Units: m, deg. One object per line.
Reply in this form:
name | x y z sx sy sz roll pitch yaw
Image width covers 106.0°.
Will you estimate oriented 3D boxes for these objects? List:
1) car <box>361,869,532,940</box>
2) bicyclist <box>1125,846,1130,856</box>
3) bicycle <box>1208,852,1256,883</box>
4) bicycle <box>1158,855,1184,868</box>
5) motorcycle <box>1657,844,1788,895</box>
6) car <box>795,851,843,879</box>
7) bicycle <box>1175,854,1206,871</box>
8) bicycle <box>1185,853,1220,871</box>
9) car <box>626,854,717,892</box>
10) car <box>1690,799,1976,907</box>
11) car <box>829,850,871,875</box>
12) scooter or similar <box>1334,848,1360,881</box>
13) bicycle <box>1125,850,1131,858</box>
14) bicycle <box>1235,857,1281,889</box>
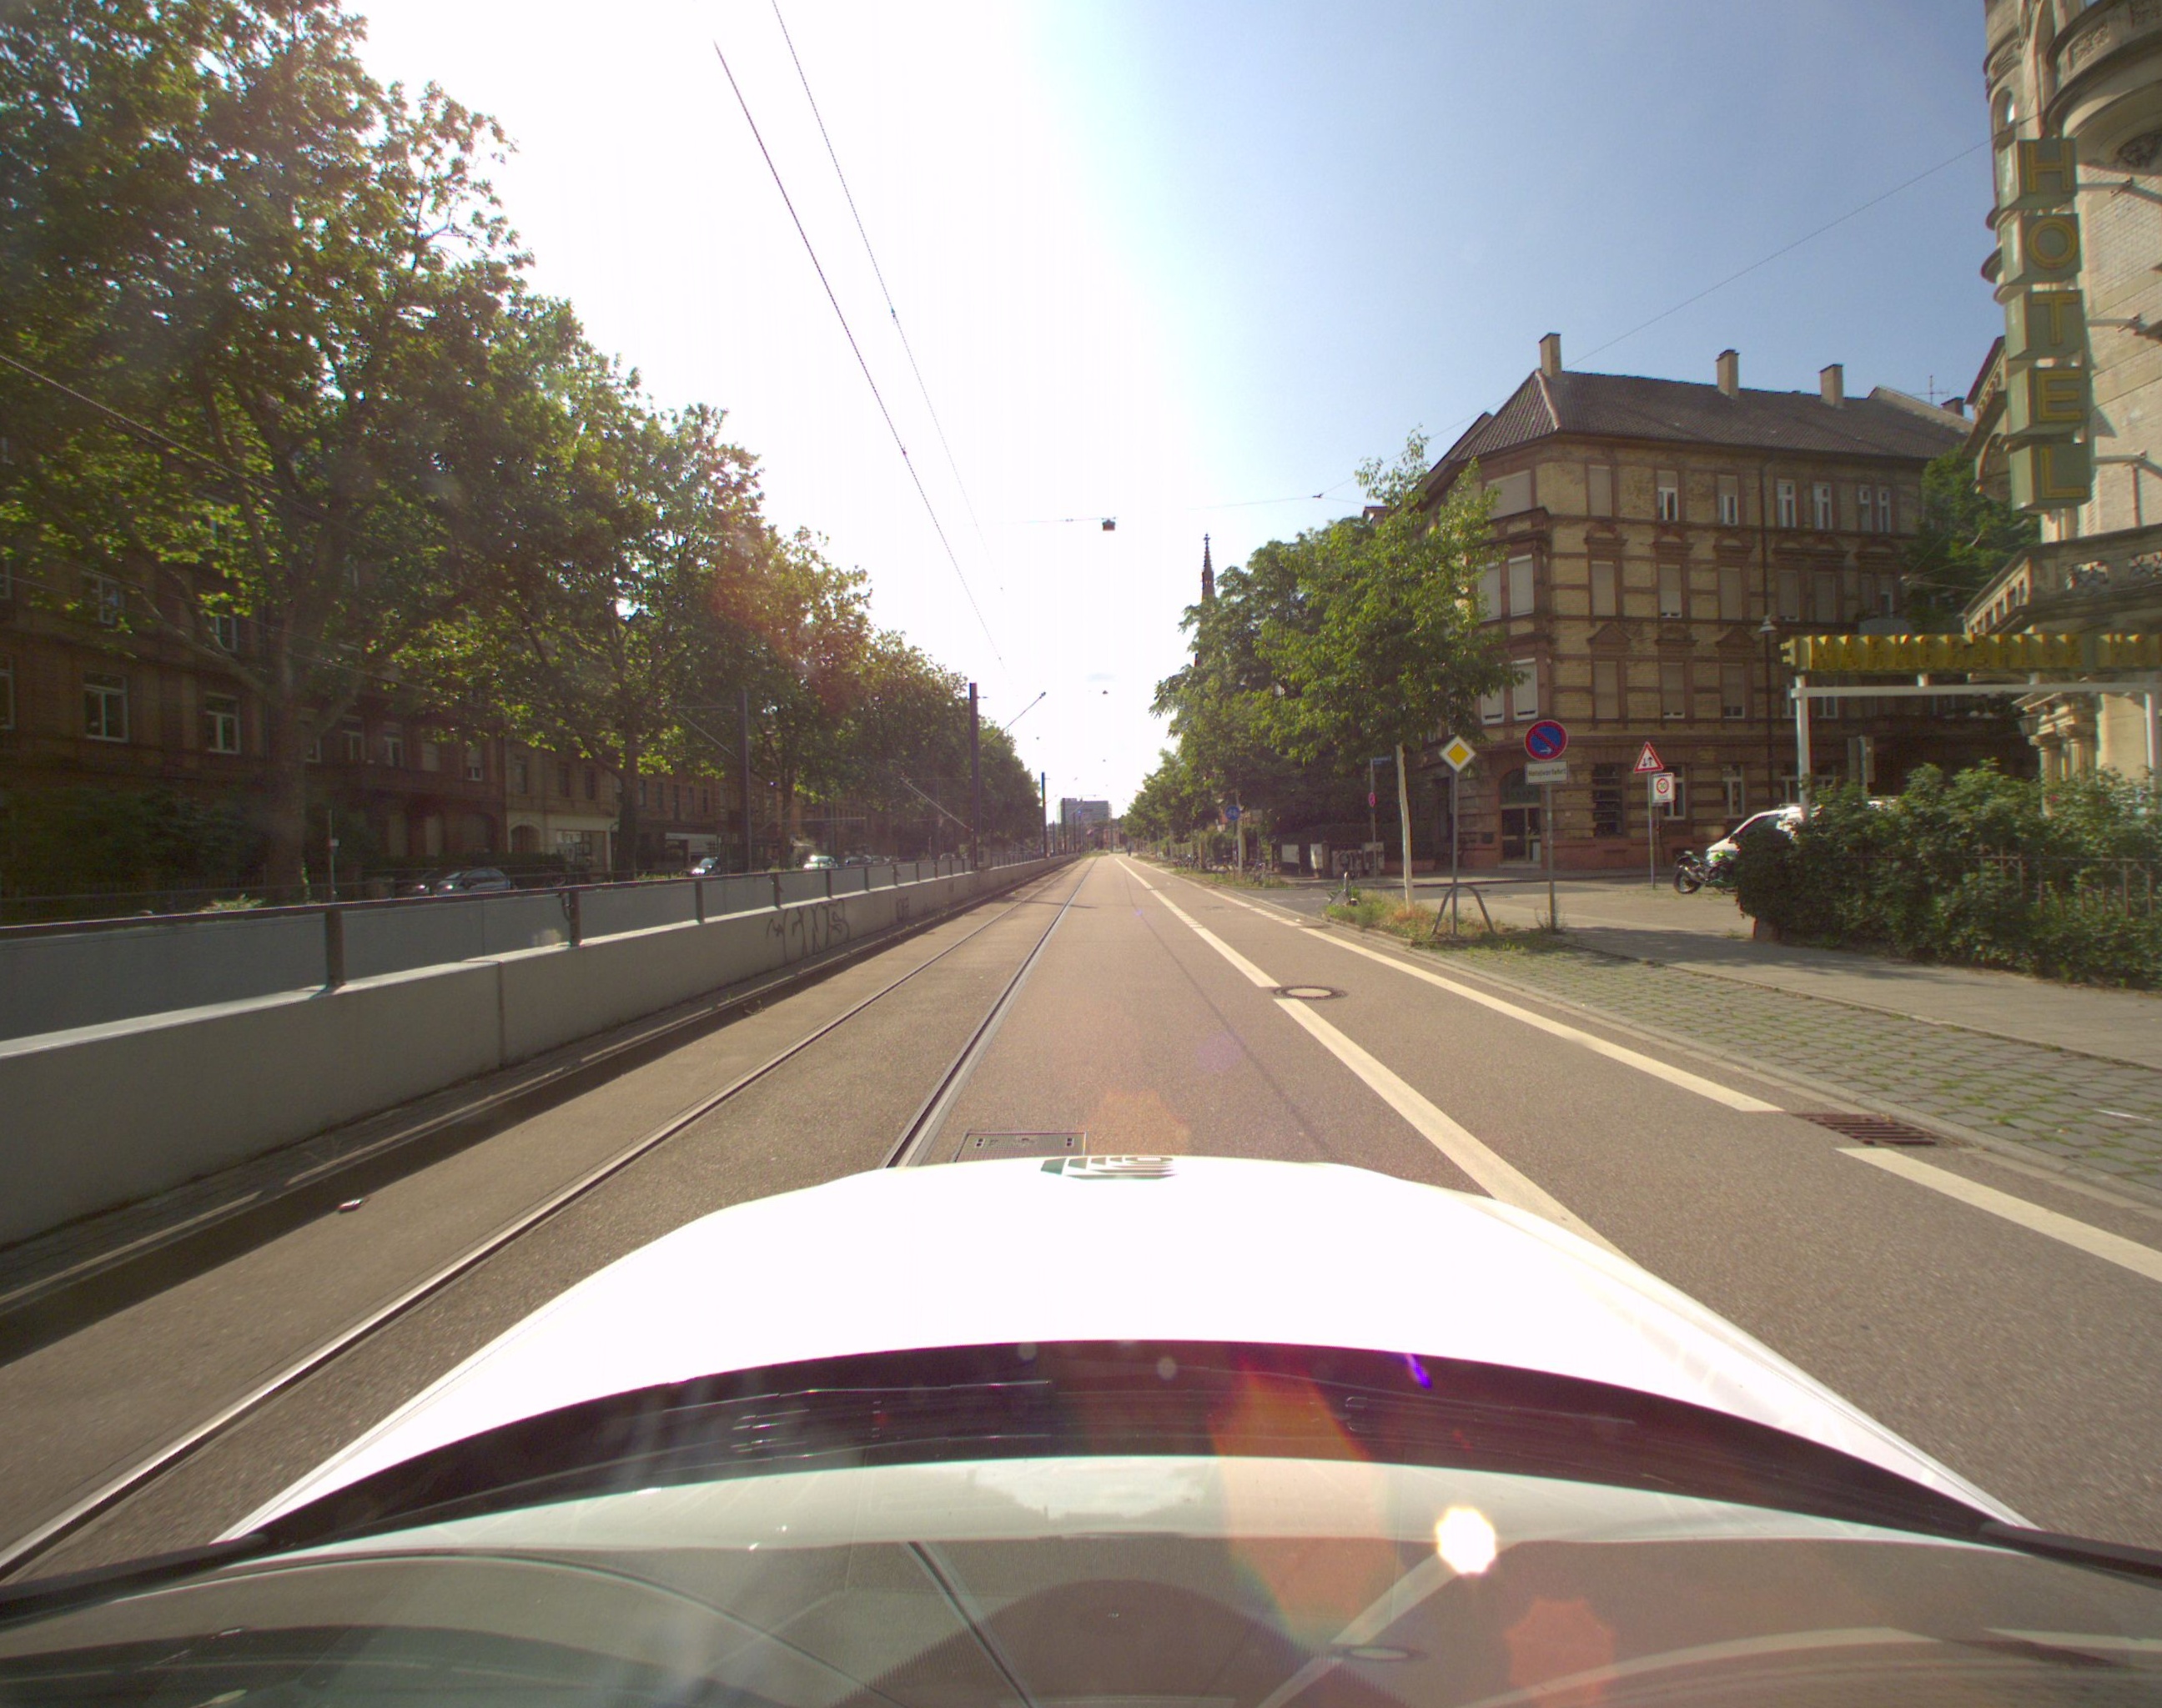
car | -18.549 1.414 24.056 1.709 1.691 3.738 -4 1 8
bicyclist | 7.614 -0.494 132.179 0.767 1.730 1.027 -2 0 2
bicycle | 6.304 0.552 34.018 1.816 1.145 0.649 -4 0 -10
bicycle | 6.939 0.561 62.863 1.811 0.902 0.603 -4 0 -2
motorcycle | 13.981 0.325 17.846 0.633 1.001 2.282 -4 1 -16
car | -18.226 0.721 56.855 1.832 1.727 4.002 -4 1 1
bicycle | 6.923 0.525 51.593 1.811 0.902 0.603 -4 0 -2
bicycle | 6.953 0.433 46.654 1.811 0.902 0.651 -4 0 -2
car | -18.978 0.838 37.983 1.985 1.636 4.004 -1 0 4
car | 16.802 0.015 18.588 1.993 2.105 4.471 -2 -1 -9
car | -17.457 0.615 61.825 1.832 1.727 4.002 -4 1 1
scooter or similar | 9.820 0.378 30.088 0.459 1.158 1.574 -3 0 2
bicycle | 7.631 -0.029 132.285 0.796 1.236 2.779 -2 0 2
bicycle | 6.253 0.658 28.841 0.652 1.038 1.810 -4 1 -20
